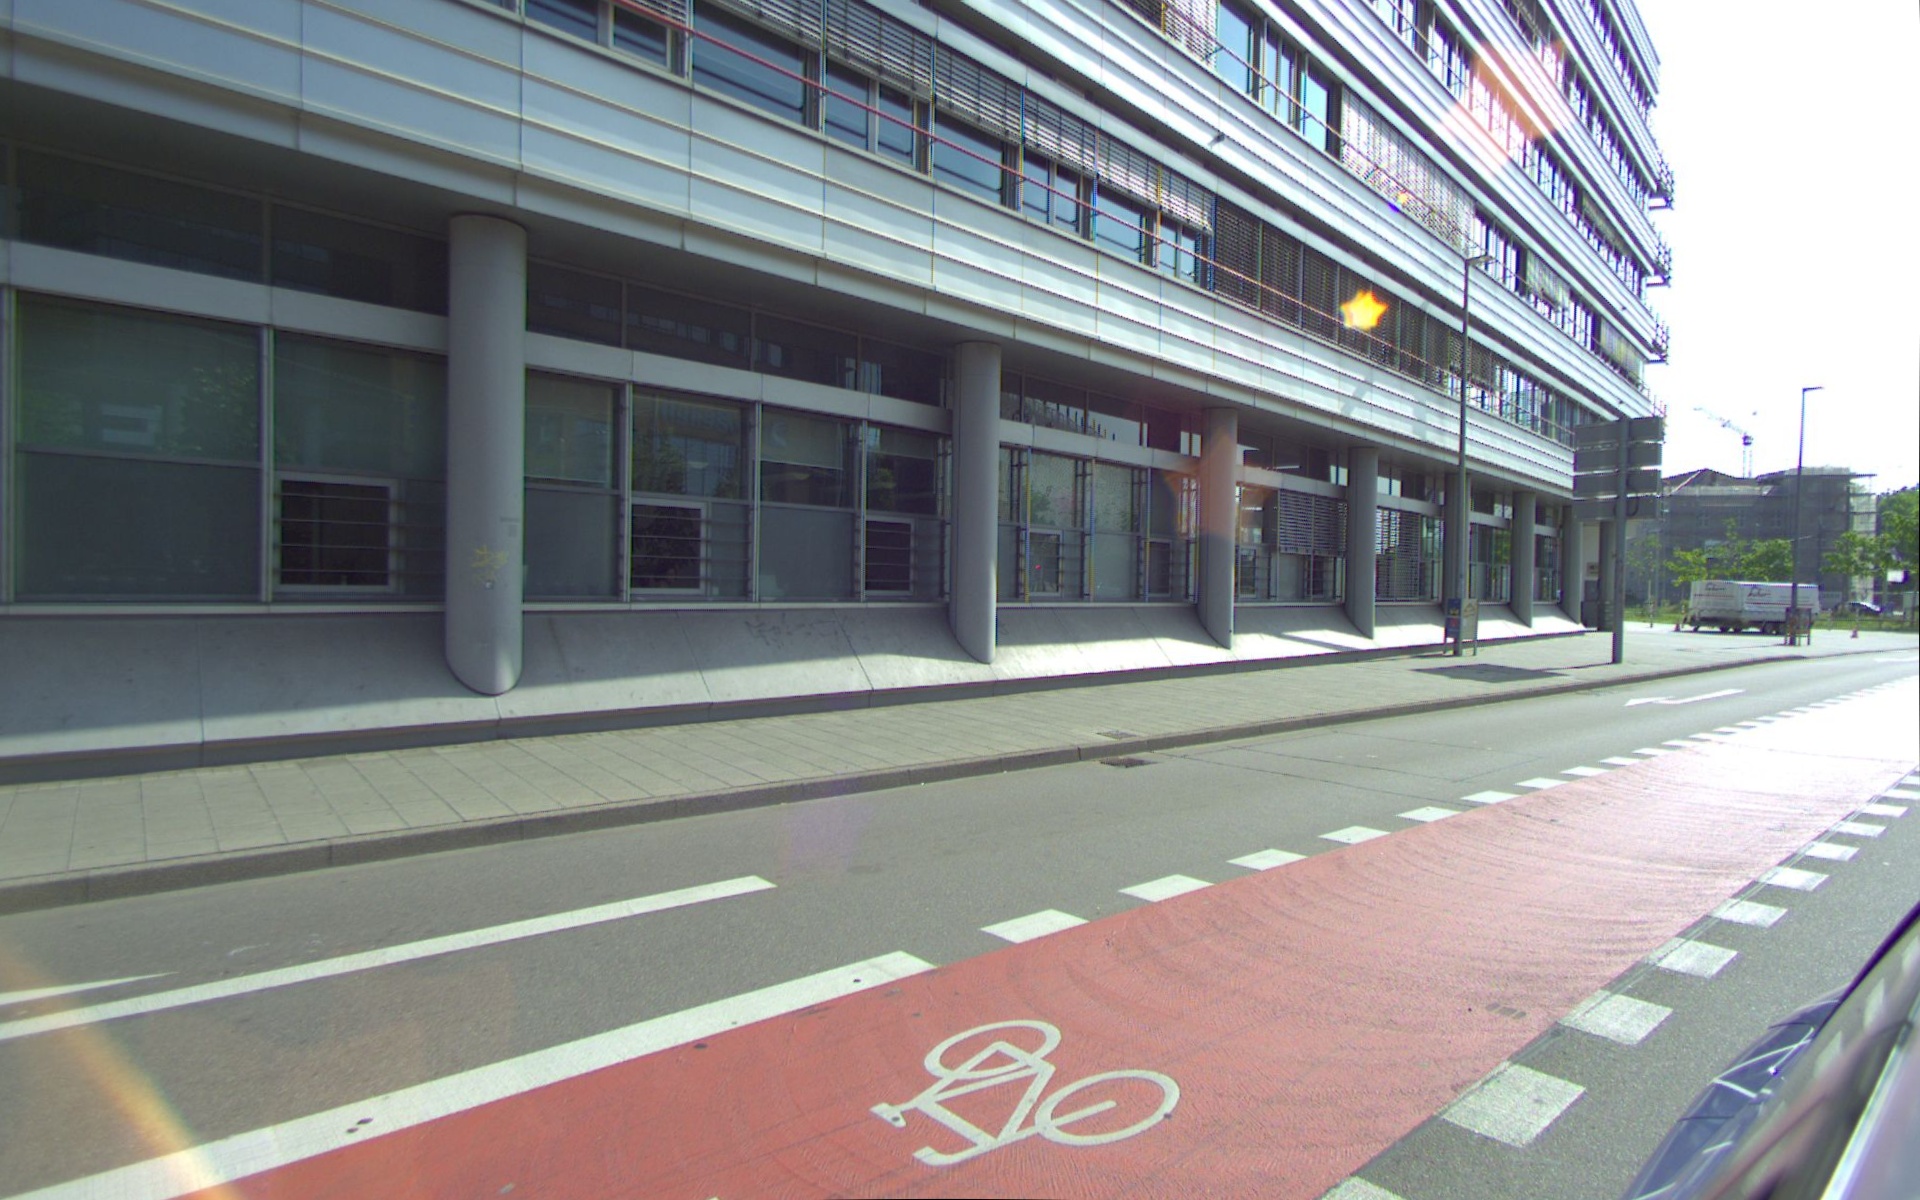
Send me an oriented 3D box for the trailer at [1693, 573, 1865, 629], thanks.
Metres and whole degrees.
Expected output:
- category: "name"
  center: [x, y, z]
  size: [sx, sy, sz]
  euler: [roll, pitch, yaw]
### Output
- category: "trailer"
  center: [33.921, 0.025, 41.966]
  size: [5.824, 2.178, 2.402]
  euler: [1, 1, -13]
